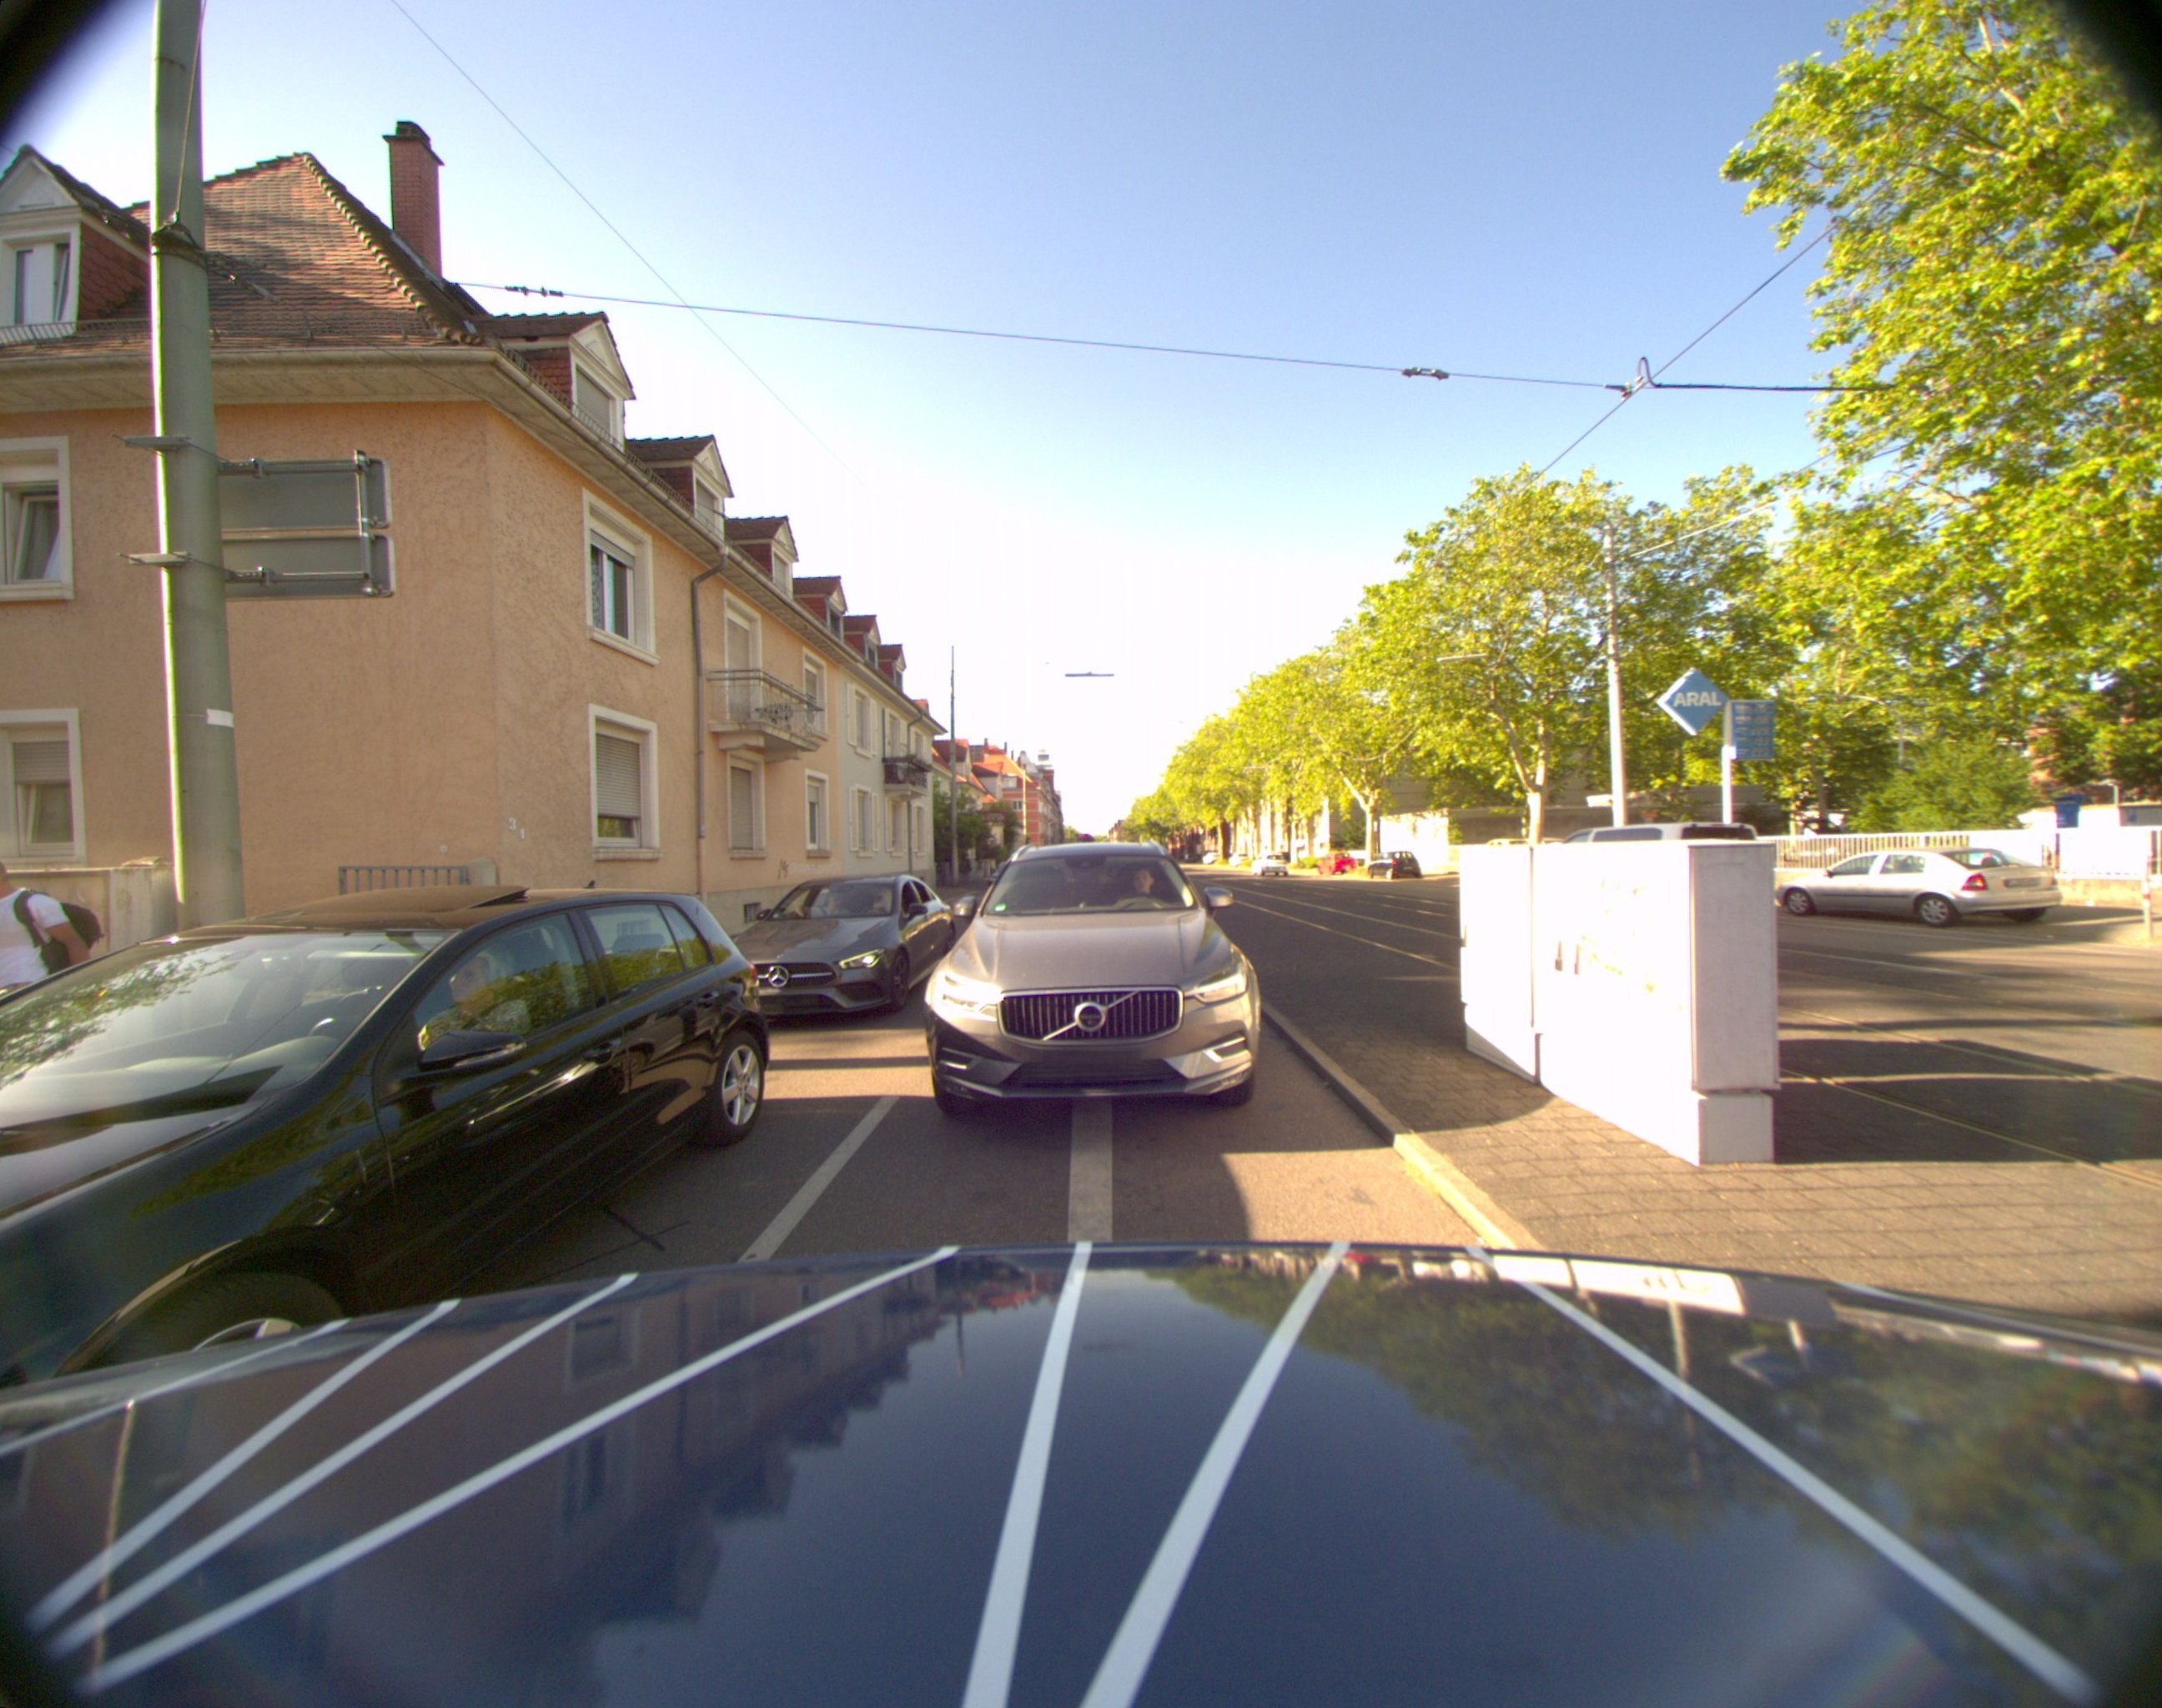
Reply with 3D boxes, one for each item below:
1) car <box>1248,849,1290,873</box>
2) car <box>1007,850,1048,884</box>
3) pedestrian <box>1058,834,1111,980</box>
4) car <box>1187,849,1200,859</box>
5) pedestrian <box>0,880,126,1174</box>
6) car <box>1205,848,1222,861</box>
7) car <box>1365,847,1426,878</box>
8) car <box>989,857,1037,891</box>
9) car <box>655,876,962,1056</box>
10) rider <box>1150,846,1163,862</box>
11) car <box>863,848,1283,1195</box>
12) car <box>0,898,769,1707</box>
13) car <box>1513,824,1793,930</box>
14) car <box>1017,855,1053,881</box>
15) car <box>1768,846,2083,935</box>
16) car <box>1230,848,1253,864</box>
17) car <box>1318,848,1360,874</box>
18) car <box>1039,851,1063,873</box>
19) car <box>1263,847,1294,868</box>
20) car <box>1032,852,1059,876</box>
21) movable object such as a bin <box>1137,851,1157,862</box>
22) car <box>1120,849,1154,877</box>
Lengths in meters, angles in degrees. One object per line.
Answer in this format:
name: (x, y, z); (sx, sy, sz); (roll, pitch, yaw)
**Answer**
car: (12.287, 0.438, 49.893); (1.742, 1.427, 3.935); (2, 1, 1)
car: (-2.921, 0.674, 42.383); (1.825, 1.701, 4.334); (-2, 1, 1)
pedestrian: (0.047, 0.666, 9.912); (0.609, 1.832, 0.599); (-2, 1, 1)
car: (18.527, 0.026, 125.510); (1.661, 1.452, 3.730); (-5, 1, 3)
pedestrian: (-6.324, 0.982, 4.378); (0.610, 1.596, 0.761); (4, 1, -1)
car: (17.552, 0.073, 100.672); (1.661, 1.452, 3.730); (-5, 1, 3)
car: (16.823, 0.430, 40.814); (1.723, 1.436, 3.769); (-5, 1, 3)
car: (-3.244, 0.950, 37.128); (1.825, 1.422, 4.334); (-2, 1, 1)
car: (-2.717, 1.042, 8.833); (1.825, 1.422, 4.491); (-2, -1, 1)
rider: (8.148, 0.004, 82.042); (0.727, 1.639, 1.103); (-3, 1, -41)
car: (0.112, 0.790, 5.767); (1.924, 1.579, 4.387); (-2, 1, 4)
car: (-2.809, 1.037, 2.631); (1.717, 1.430, 3.990); (-2, 1, 1)
car: (11.728, 0.400, 16.218); (1.998, 1.843, 5.216); (2, 0, 0)
car: (-2.802, 0.852, 47.039); (1.825, 1.424, 4.334); (-2, 1, 1)
car: (16.189, 0.618, 14.944); (1.687, 1.358, 3.989); (-6, 0, 1)
car: (17.596, 0.177, 83.457); (1.754, 1.532, 3.878); (-5, 1, 3)
car: (16.965, 0.412, 50.065); (1.661, 1.486, 3.377); (-5, 1, 2)
car: (-2.612, 0.675, 67.268); (1.825, 1.701, 4.334); (-2, 1, 1)
car: (17.213, 0.262, 66.295); (1.754, 1.582, 3.878); (-5, 1, 3)
car: (-2.799, 0.755, 60.902); (1.825, 1.701, 4.334); (-2, 1, 1)
movable object such as a bin: (7.191, 0.291, 83.165); (1.181, 1.097, 1.830); (-3, 1, -41)
car: (3.547, 0.564, 48.877); (1.851, 1.640, 3.999); (-2, 1, 1)
